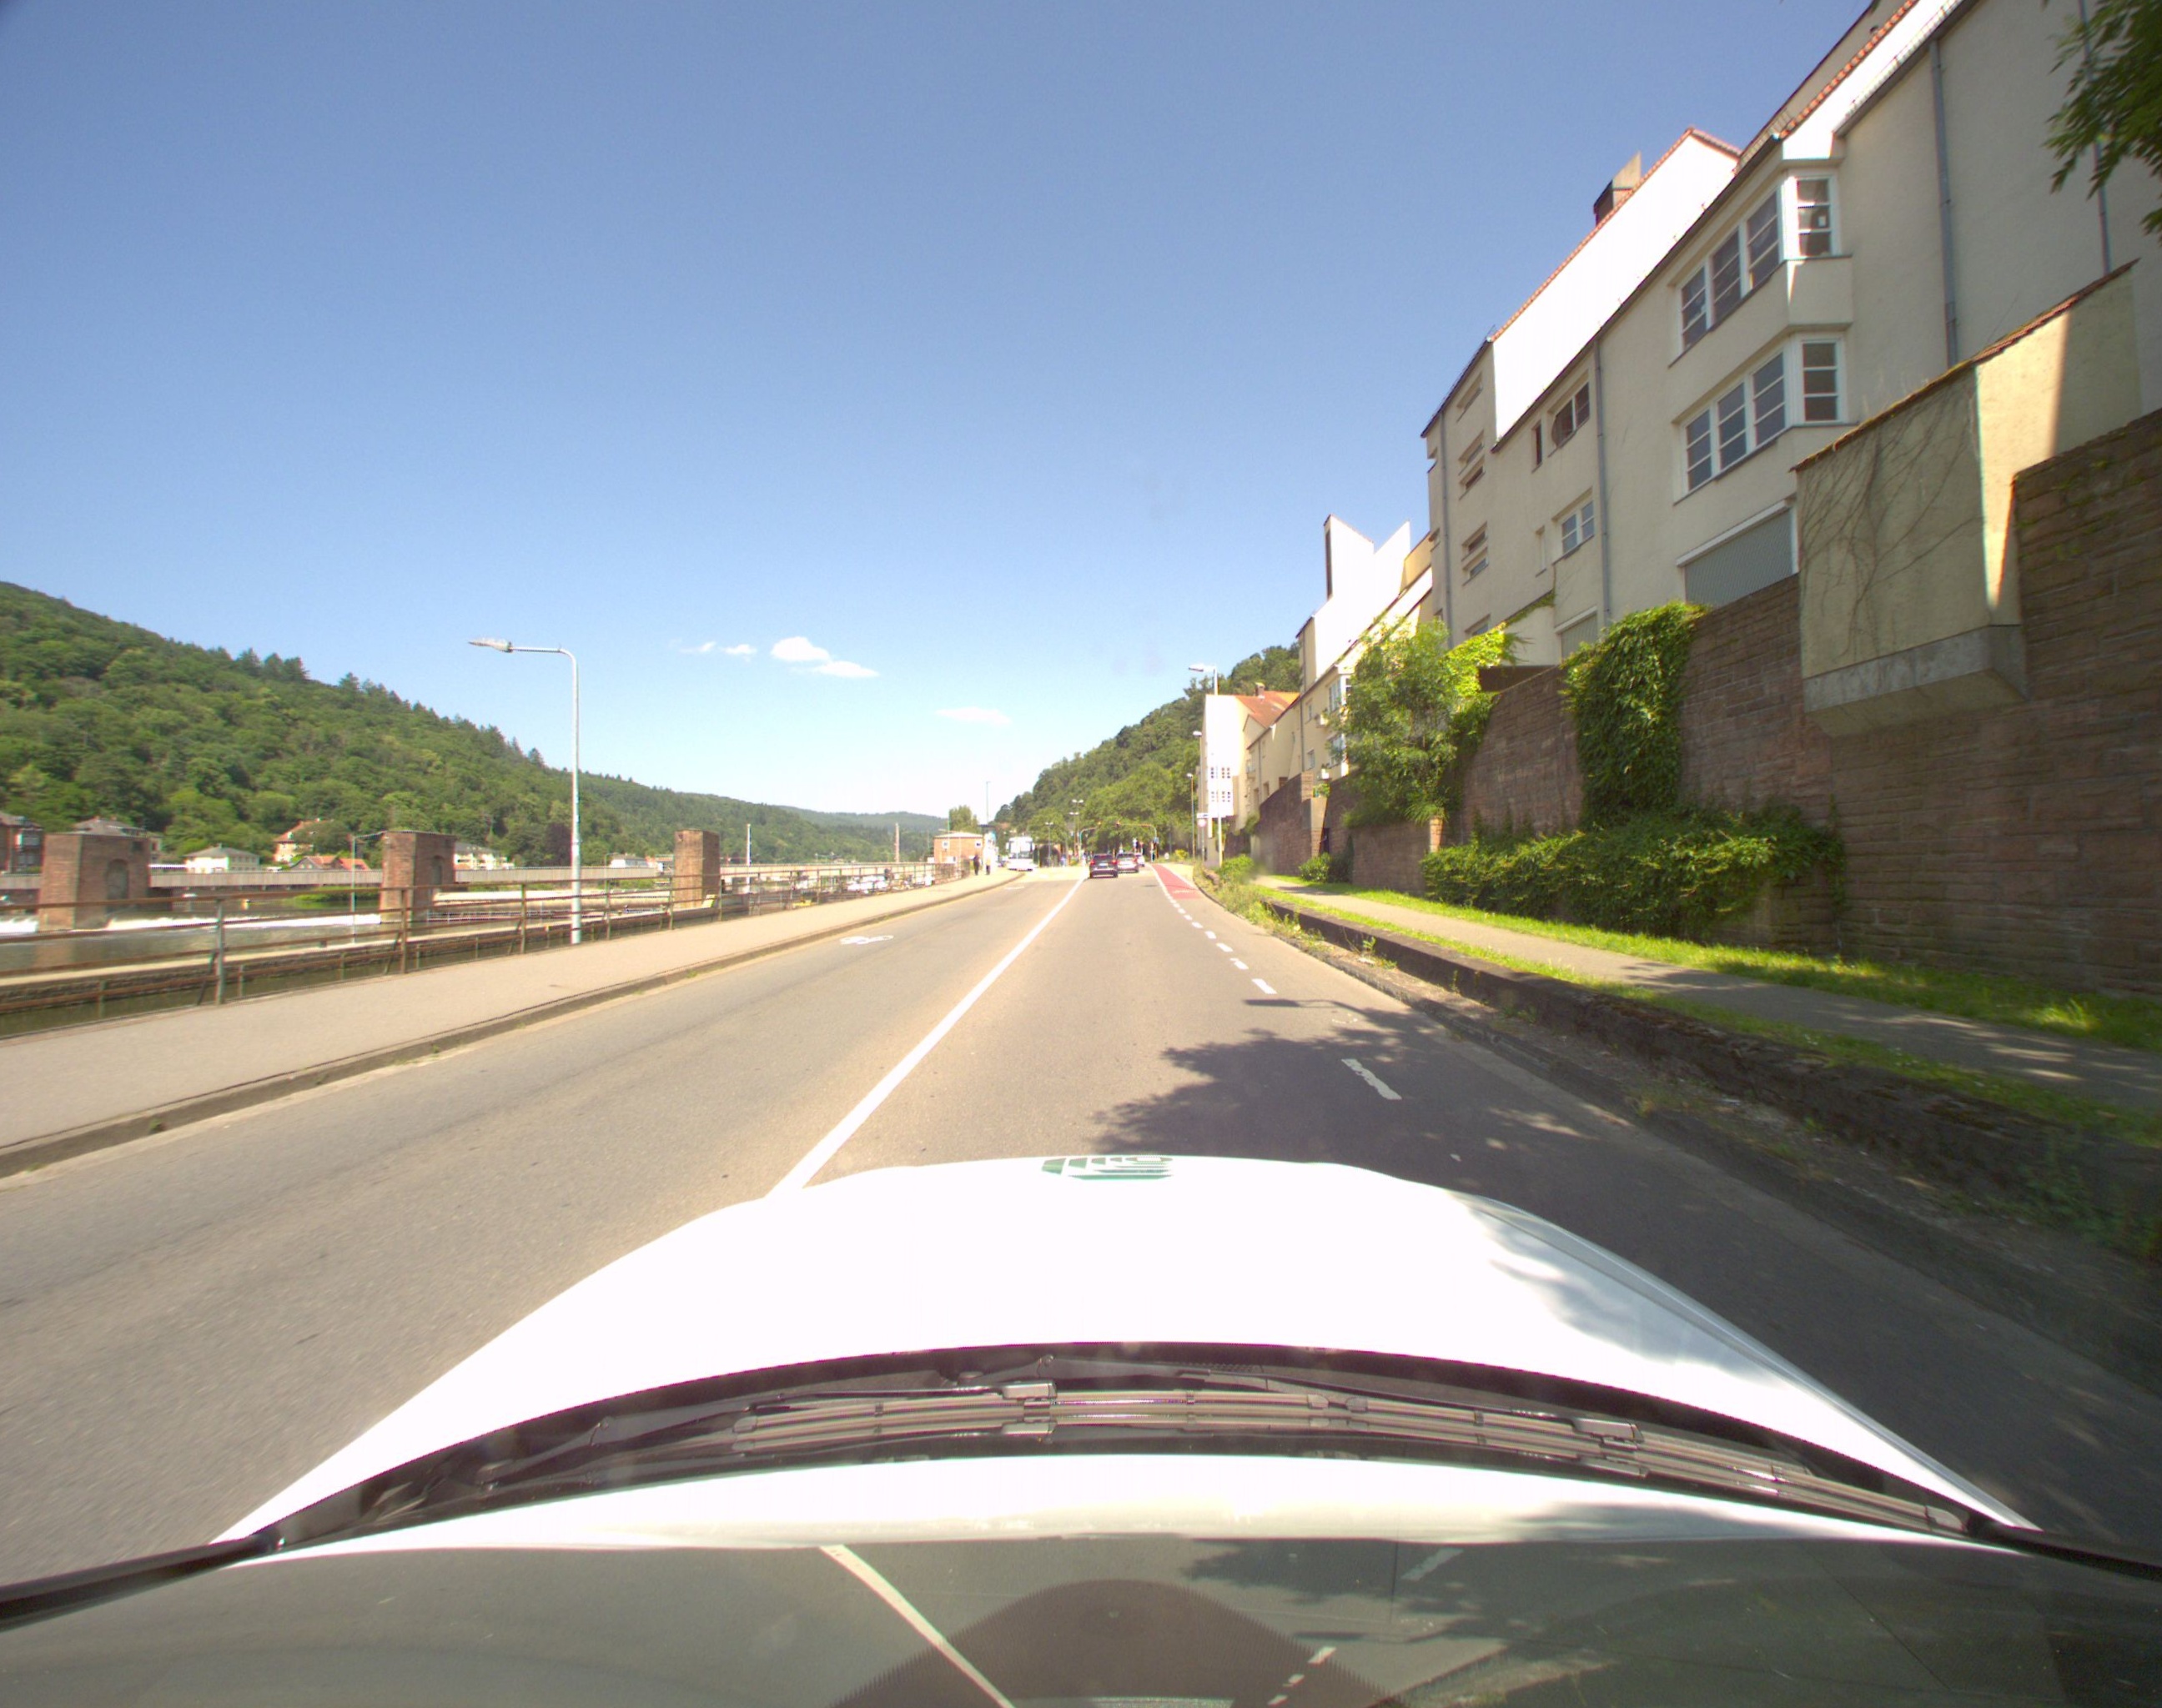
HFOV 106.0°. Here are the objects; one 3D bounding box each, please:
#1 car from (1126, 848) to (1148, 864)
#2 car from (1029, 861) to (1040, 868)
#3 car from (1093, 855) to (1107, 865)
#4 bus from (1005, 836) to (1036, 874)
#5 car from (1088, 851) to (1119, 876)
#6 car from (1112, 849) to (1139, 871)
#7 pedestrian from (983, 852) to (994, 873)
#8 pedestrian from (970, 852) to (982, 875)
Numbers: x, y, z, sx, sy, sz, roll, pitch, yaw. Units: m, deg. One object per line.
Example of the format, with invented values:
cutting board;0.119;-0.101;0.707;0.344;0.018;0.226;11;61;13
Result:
car;5.622;0.223;82.132;1.986;1.534;4.861;-1;-1;2
car;-10.057;2.308;176.236;1.993;1.432;4.155;-3;0;-8
car;2.631;0.856;115.515;1.861;1.359;3.999;-3;0;-1
bus;-6.579;0.199;90.263;2.950;3.801;13.228;-2;-1;-3
car;1.445;0.615;51.436;1.862;1.514;4.153;-1;-1;2
car;3.280;0.433;60.374;1.881;1.521;4.307;-1;-1;2
pedestrian;-7.139;0.662;62.563;0.700;1.621;0.817;-2;-1;0
pedestrian;-7.834;0.704;60.660;0.680;1.709;0.773;-2;-1;2
